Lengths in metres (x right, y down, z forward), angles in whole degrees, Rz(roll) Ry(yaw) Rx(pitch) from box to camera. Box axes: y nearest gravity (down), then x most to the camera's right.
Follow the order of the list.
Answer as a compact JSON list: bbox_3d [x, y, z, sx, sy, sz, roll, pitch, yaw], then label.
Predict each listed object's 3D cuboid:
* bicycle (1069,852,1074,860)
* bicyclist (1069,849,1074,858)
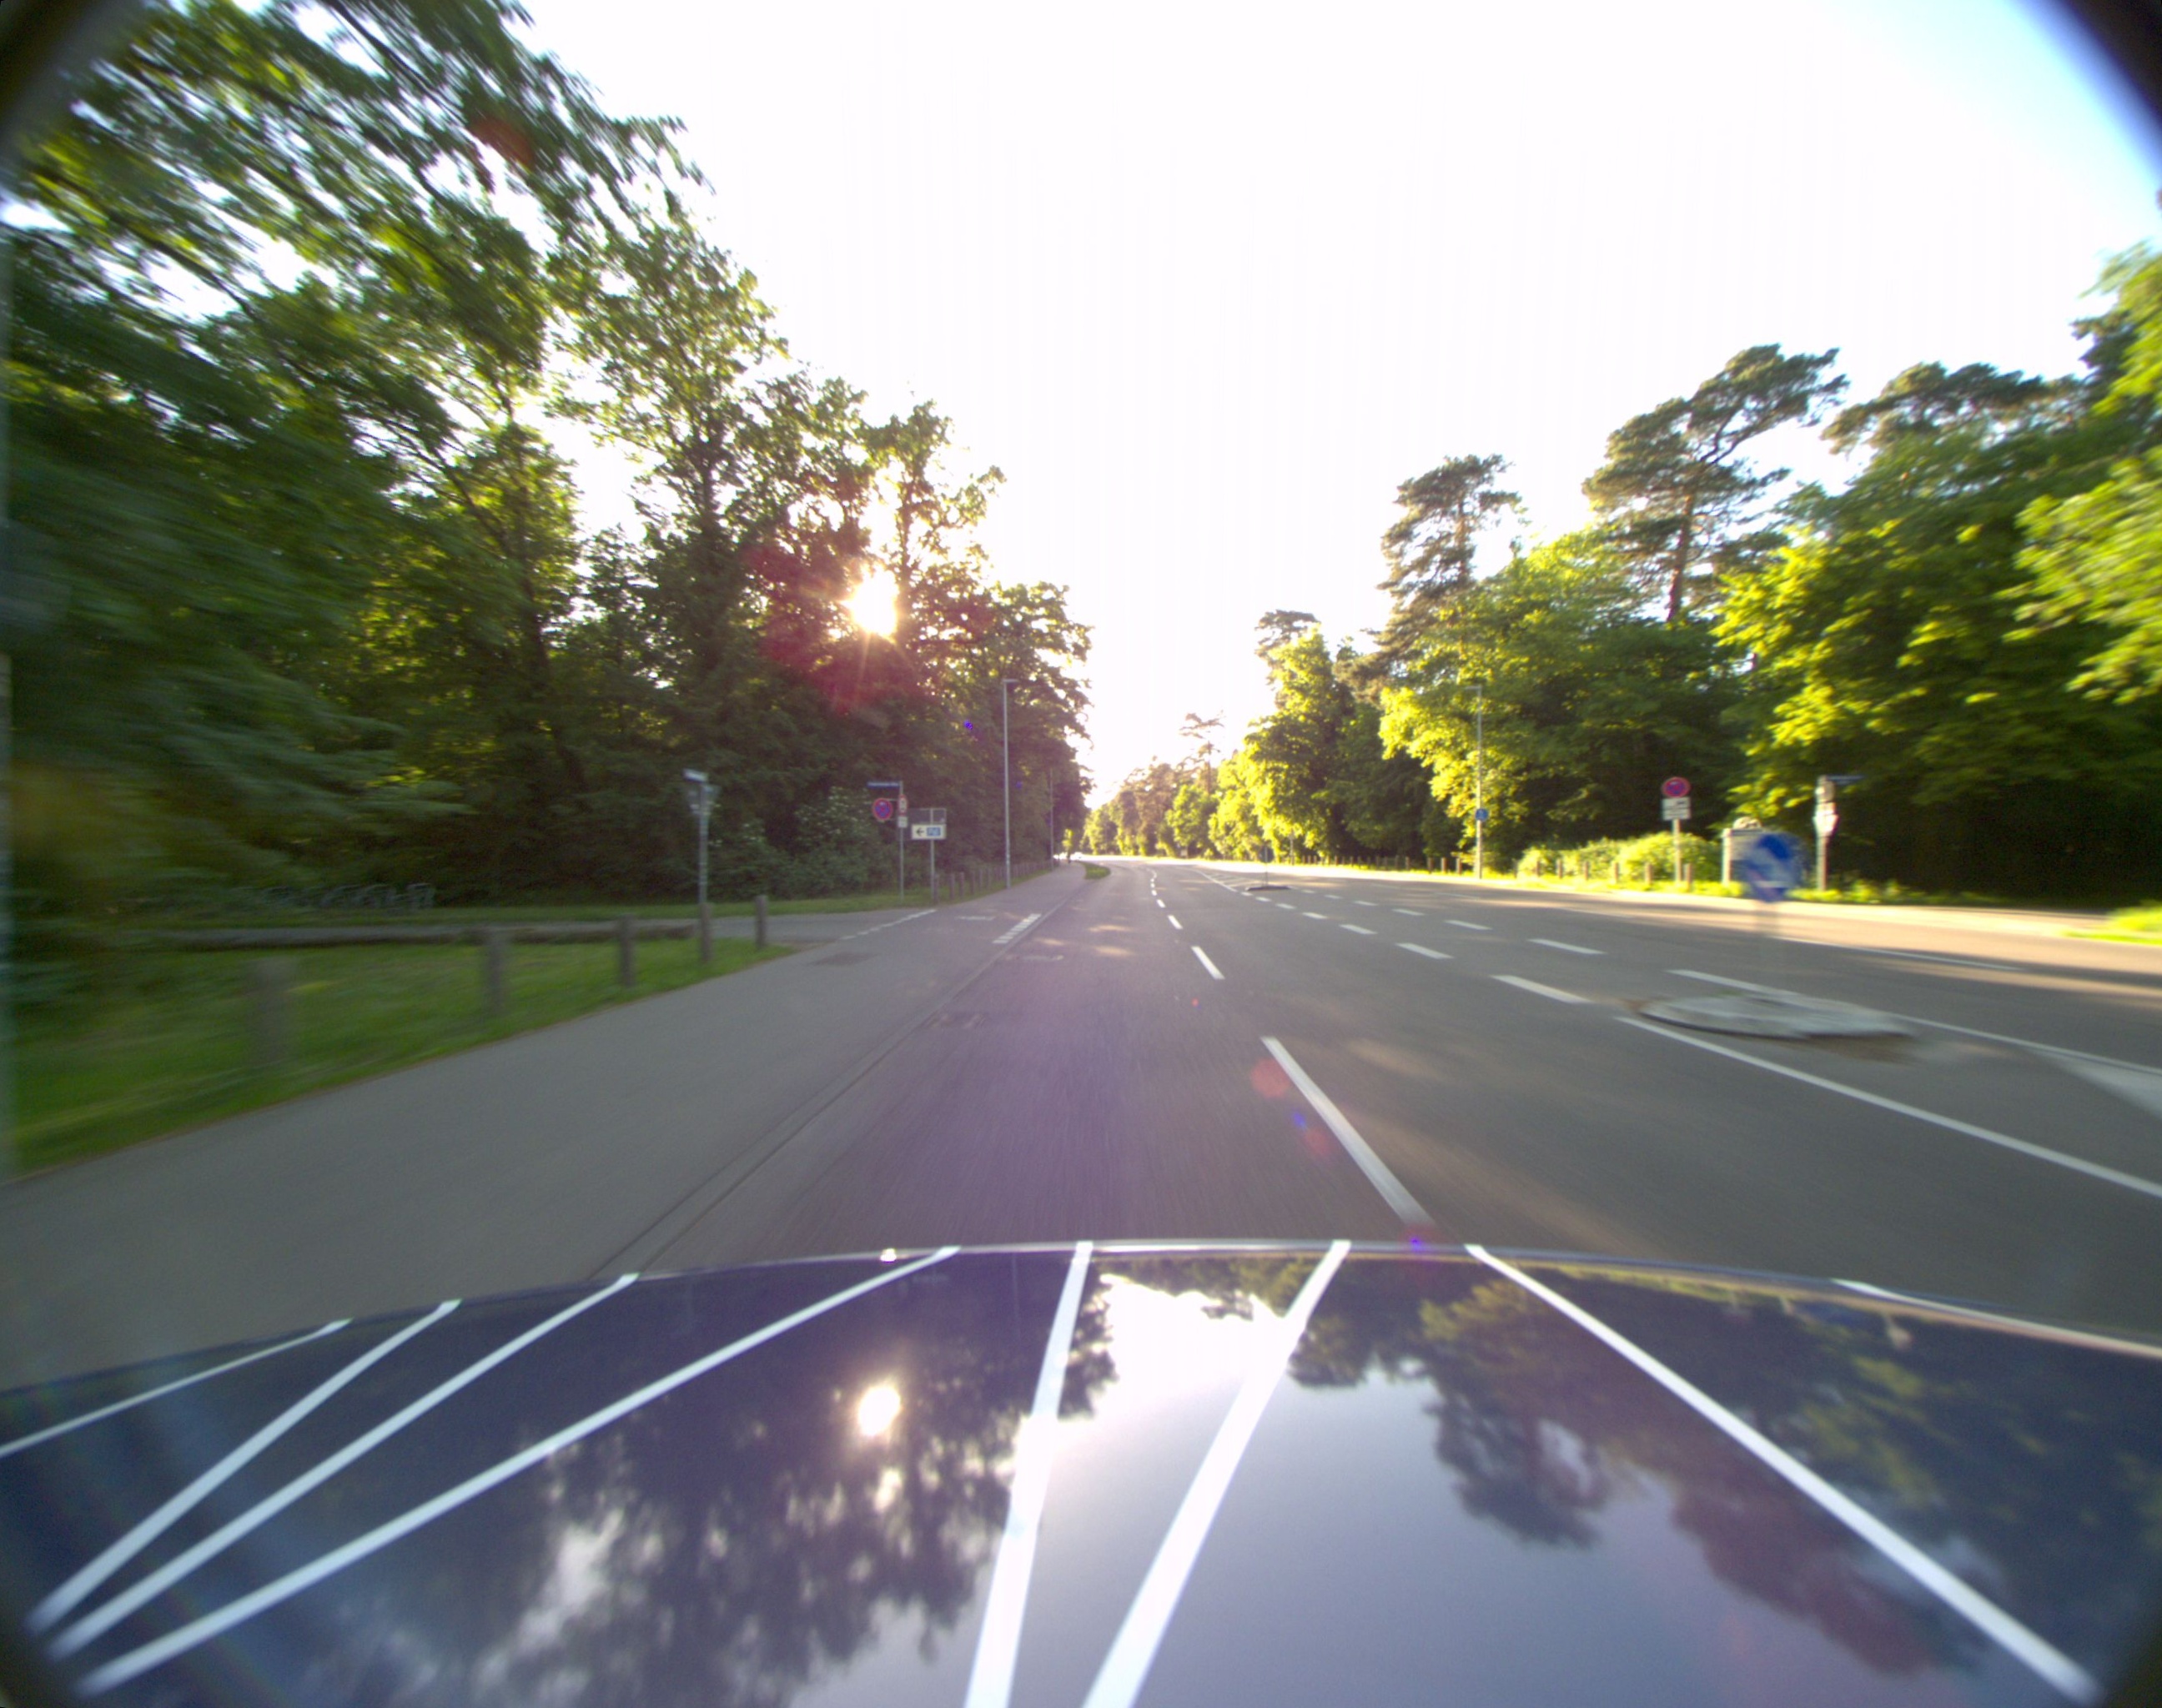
[{"bbox_3d":[-1.229,0.279,97.658,0.608,1.051,2.874,-1,0,-2],"label":"bicycle"},{"bbox_3d":[-1.222,-0.059,97.749,0.514,1.260,0.497,-1,1,-2],"label":"bicyclist"}]
